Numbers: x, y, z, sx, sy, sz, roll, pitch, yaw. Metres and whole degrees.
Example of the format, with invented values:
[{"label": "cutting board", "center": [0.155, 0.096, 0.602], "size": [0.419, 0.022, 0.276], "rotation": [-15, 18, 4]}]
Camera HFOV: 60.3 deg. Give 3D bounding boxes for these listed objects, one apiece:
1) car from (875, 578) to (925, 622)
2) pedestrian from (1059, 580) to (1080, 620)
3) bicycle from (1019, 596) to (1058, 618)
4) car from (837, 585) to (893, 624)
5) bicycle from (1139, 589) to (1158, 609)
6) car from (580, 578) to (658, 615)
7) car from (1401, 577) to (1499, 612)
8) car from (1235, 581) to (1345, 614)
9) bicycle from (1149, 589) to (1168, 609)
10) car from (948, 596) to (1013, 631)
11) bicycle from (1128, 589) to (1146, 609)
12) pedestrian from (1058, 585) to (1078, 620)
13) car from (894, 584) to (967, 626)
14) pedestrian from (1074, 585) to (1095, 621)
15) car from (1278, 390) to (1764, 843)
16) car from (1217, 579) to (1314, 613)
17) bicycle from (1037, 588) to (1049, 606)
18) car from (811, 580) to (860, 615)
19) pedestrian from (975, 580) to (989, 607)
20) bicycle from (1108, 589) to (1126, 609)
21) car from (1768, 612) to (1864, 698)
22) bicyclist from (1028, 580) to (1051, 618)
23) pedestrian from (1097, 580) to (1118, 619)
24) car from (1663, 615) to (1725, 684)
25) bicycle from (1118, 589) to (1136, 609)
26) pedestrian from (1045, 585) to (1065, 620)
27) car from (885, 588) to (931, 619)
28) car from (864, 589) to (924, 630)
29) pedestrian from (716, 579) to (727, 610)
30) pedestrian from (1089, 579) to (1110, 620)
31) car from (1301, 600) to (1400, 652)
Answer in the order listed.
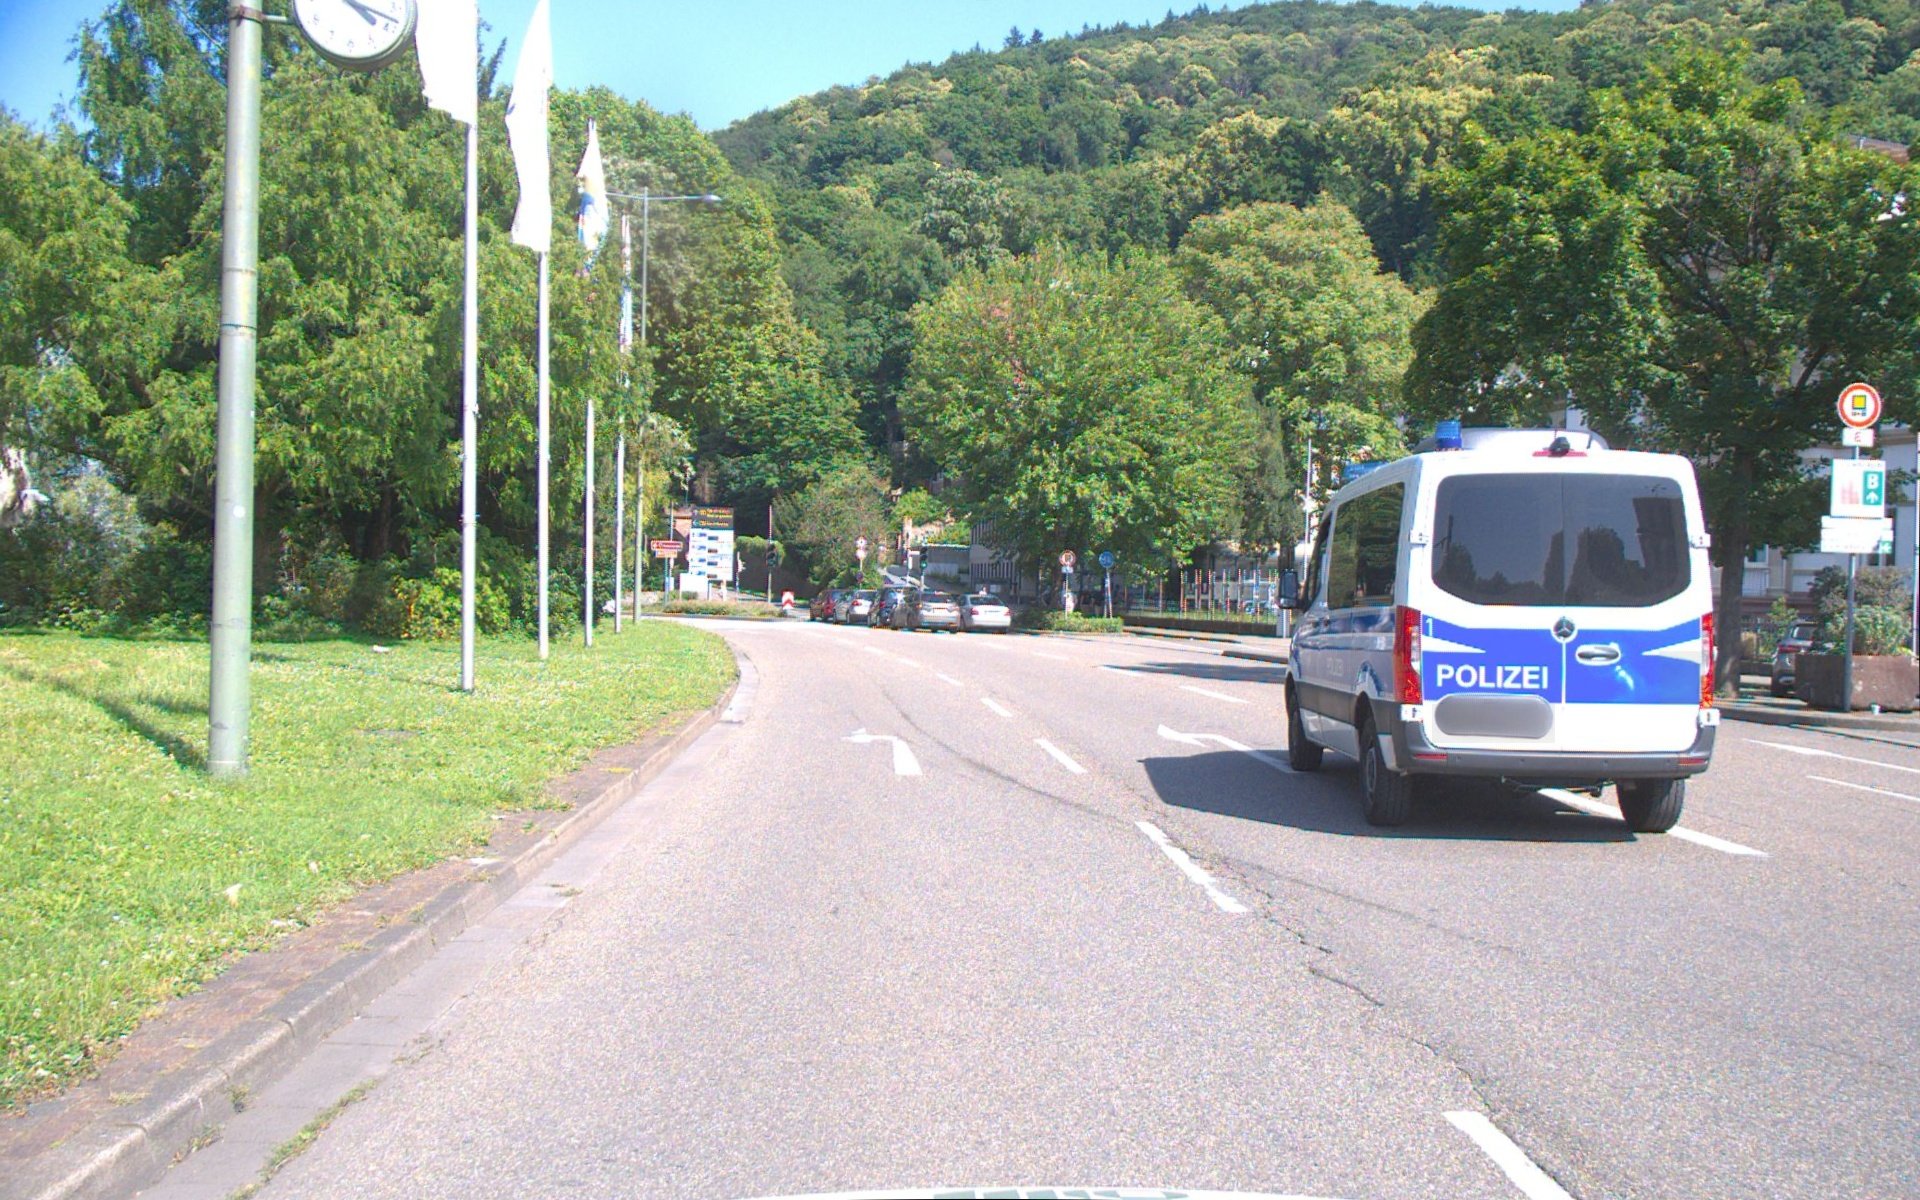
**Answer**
[{"label": "car", "center": [-2.852, -0.003, 77.889], "size": [1.725, 1.972, 3.483], "rotation": [1, 0, -13]}, {"label": "pedestrian", "center": [5.183, 0.008, 78.499], "size": [0.757, 1.886, 0.827], "rotation": [1, 0, -12]}, {"label": "bicycle", "center": [4.151, 0.370, 87.510], "size": [2.034, 1.132, 0.757], "rotation": [1, 0, 0]}, {"label": "car", "center": [-3.993, 0.169, 68.946], "size": [1.725, 1.486, 3.634], "rotation": [2, 1, -13]}, {"label": "bicycle", "center": [10.757, -0.044, 94.387], "size": [0.527, 1.104, 1.830], "rotation": [1, 1, -10]}, {"label": "car", "center": [-14.600, -0.163, 70.648], "size": [1.831, 1.485, 3.443], "rotation": [1, 1, -41]}, {"label": "car", "center": [23.783, -0.273, 80.281], "size": [4.236, 1.631, 1.814], "rotation": [1, 0, -15]}, {"label": "car", "center": [14.437, -0.128, 72.502], "size": [4.392, 1.359, 1.814], "rotation": [1, 1, -15]}, {"label": "bicycle", "center": [11.330, -0.038, 94.521], "size": [0.527, 1.104, 1.830], "rotation": [1, 1, -10]}, {"label": "car", "center": [0.758, 0.492, 62.902], "size": [1.725, 1.234, 3.483], "rotation": [2, 1, -13]}, {"label": "bicycle", "center": [10.105, -0.051, 94.248], "size": [0.527, 1.104, 1.830], "rotation": [1, 1, -10]}, {"label": "pedestrian", "center": [5.223, 0.114, 80.286], "size": [0.757, 1.692, 0.827], "rotation": [1, 0, -11]}, {"label": "car", "center": [-1.085, 0.157, 58.259], "size": [1.727, 1.357, 3.787], "rotation": [1, 1, -15]}, {"label": "pedestrian", "center": [5.932, 0.142, 78.810], "size": [0.757, 1.692, 0.827], "rotation": [1, 0, -11]}, {"label": "car", "center": [3.698, 0.089, 11.992], "size": [2.030, 2.552, 4.931], "rotation": [2, 0, 3]}, {"label": "car", "center": [14.269, -0.183, 77.358], "size": [4.077, 1.501, 1.869], "rotation": [1, 0, -17]}, {"label": "bicycle", "center": [4.965, -0.164, 98.661], "size": [0.398, 1.030, 1.337], "rotation": [0, 1, -12]}, {"label": "car", "center": [-5.619, -0.116, 74.356], "size": [1.725, 1.486, 3.483], "rotation": [2, 1, -13]}, {"label": "pedestrian", "center": [1.199, -0.351, 91.073], "size": [0.482, 1.483, 0.729], "rotation": [1, 0, -23]}, {"label": "bicycle", "center": [8.915, -0.064, 94.119], "size": [0.527, 1.104, 1.830], "rotation": [1, 1, -10]}, {"label": "car", "center": [18.188, 1.116, 35.211], "size": [1.675, 1.658, 4.311], "rotation": [2, 0, 27]}, {"label": "bicyclist", "center": [4.204, -0.046, 87.518], "size": [1.103, 1.966, 0.748], "rotation": [1, 0, 0]}, {"label": "pedestrian", "center": [7.185, -0.017, 80.492], "size": [0.758, 1.886, 0.826], "rotation": [1, 0, -14]}, {"label": "car", "center": [16.978, 1.118, 38.322], "size": [1.173, 1.508, 2.288], "rotation": [2, 0, 21]}, {"label": "bicycle", "center": [9.488, -0.058, 94.238], "size": [0.527, 1.104, 1.830], "rotation": [1, 1, -10]}, {"label": "pedestrian", "center": [4.584, 0.117, 79.613], "size": [0.757, 1.692, 0.827], "rotation": [1, 0, -12]}, {"label": "car", "center": [-2.683, 0.176, 84.606], "size": [1.725, 1.486, 3.483], "rotation": [2, 1, -13]}, {"label": "car", "center": [-2.597, 0.348, 64.157], "size": [1.725, 1.486, 3.483], "rotation": [2, 1, -13]}, {"label": "pedestrian", "center": [-13.083, -0.301, 90.665], "size": [0.536, 1.649, 0.634], "rotation": [1, 1, -3]}, {"label": "pedestrian", "center": [6.647, -0.032, 78.858], "size": [0.758, 1.886, 0.826], "rotation": [1, 0, -14]}, {"label": "car", "center": [12.116, 0.790, 51.103], "size": [1.789, 1.487, 4.098], "rotation": [2, 0, 31]}]
